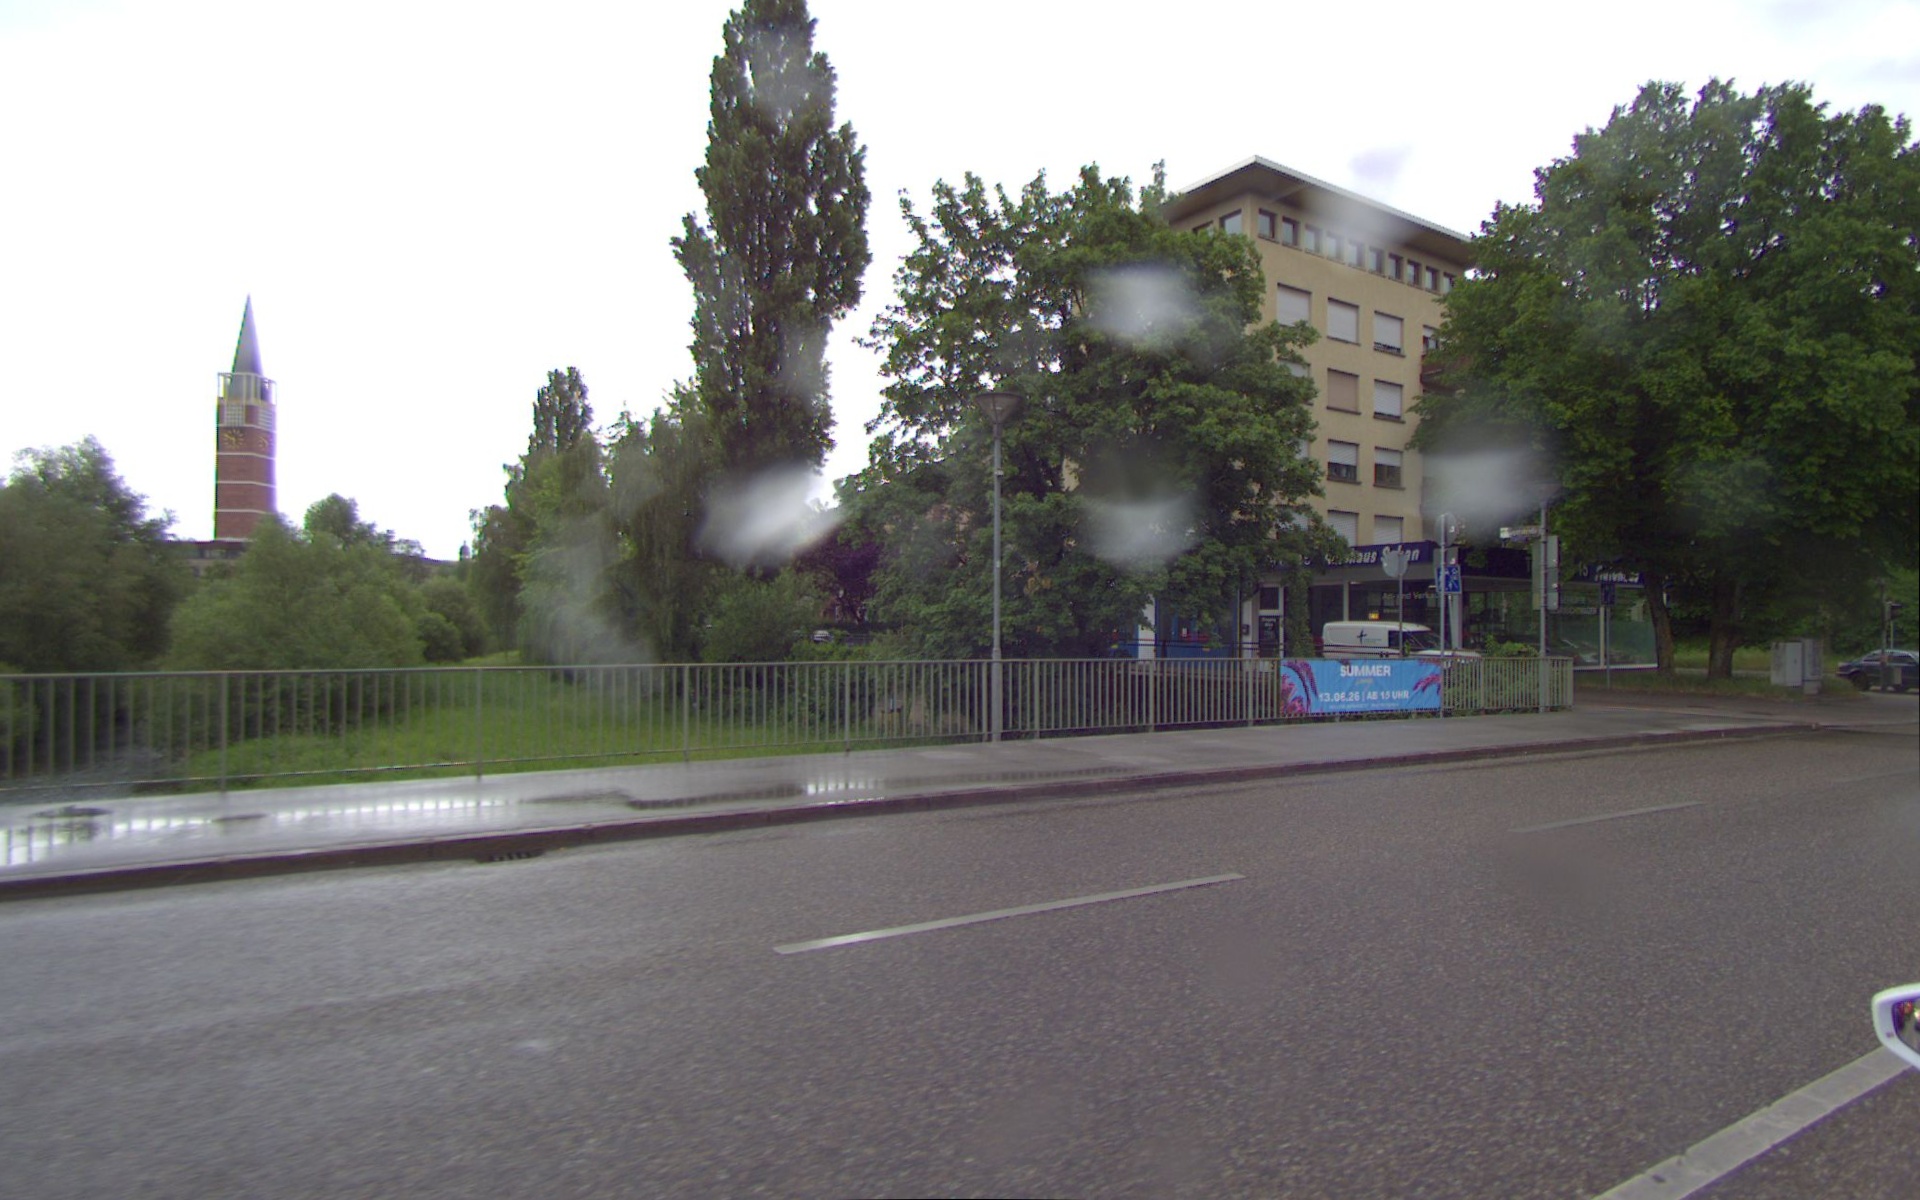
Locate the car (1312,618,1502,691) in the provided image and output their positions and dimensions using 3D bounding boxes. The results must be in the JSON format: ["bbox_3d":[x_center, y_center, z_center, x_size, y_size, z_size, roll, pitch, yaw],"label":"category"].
[{"bbox_3d":[12.991,1.520,29.448,1.982,1.879,4.705,-1,0,-38],"label":"car"}]

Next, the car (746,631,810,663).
[{"bbox_3d":[-9.509,2.407,52.321,1.726,1.602,3.844,1,-2,-38],"label":"car"}]

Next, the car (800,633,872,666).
[{"bbox_3d":[-7.279,2.839,58.585,1.982,1.676,4.705,-1,0,-38],"label":"car"}]

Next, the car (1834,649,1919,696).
[{"bbox_3d":[31.762,2.386,33.154,1.701,1.478,4.426,1,-2,-5],"label":"car"}]

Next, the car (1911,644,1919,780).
[{"bbox_3d":[12.279,1.196,10.966,4.046,1.434,1.701,1,-3,-31],"label":"car"}]
